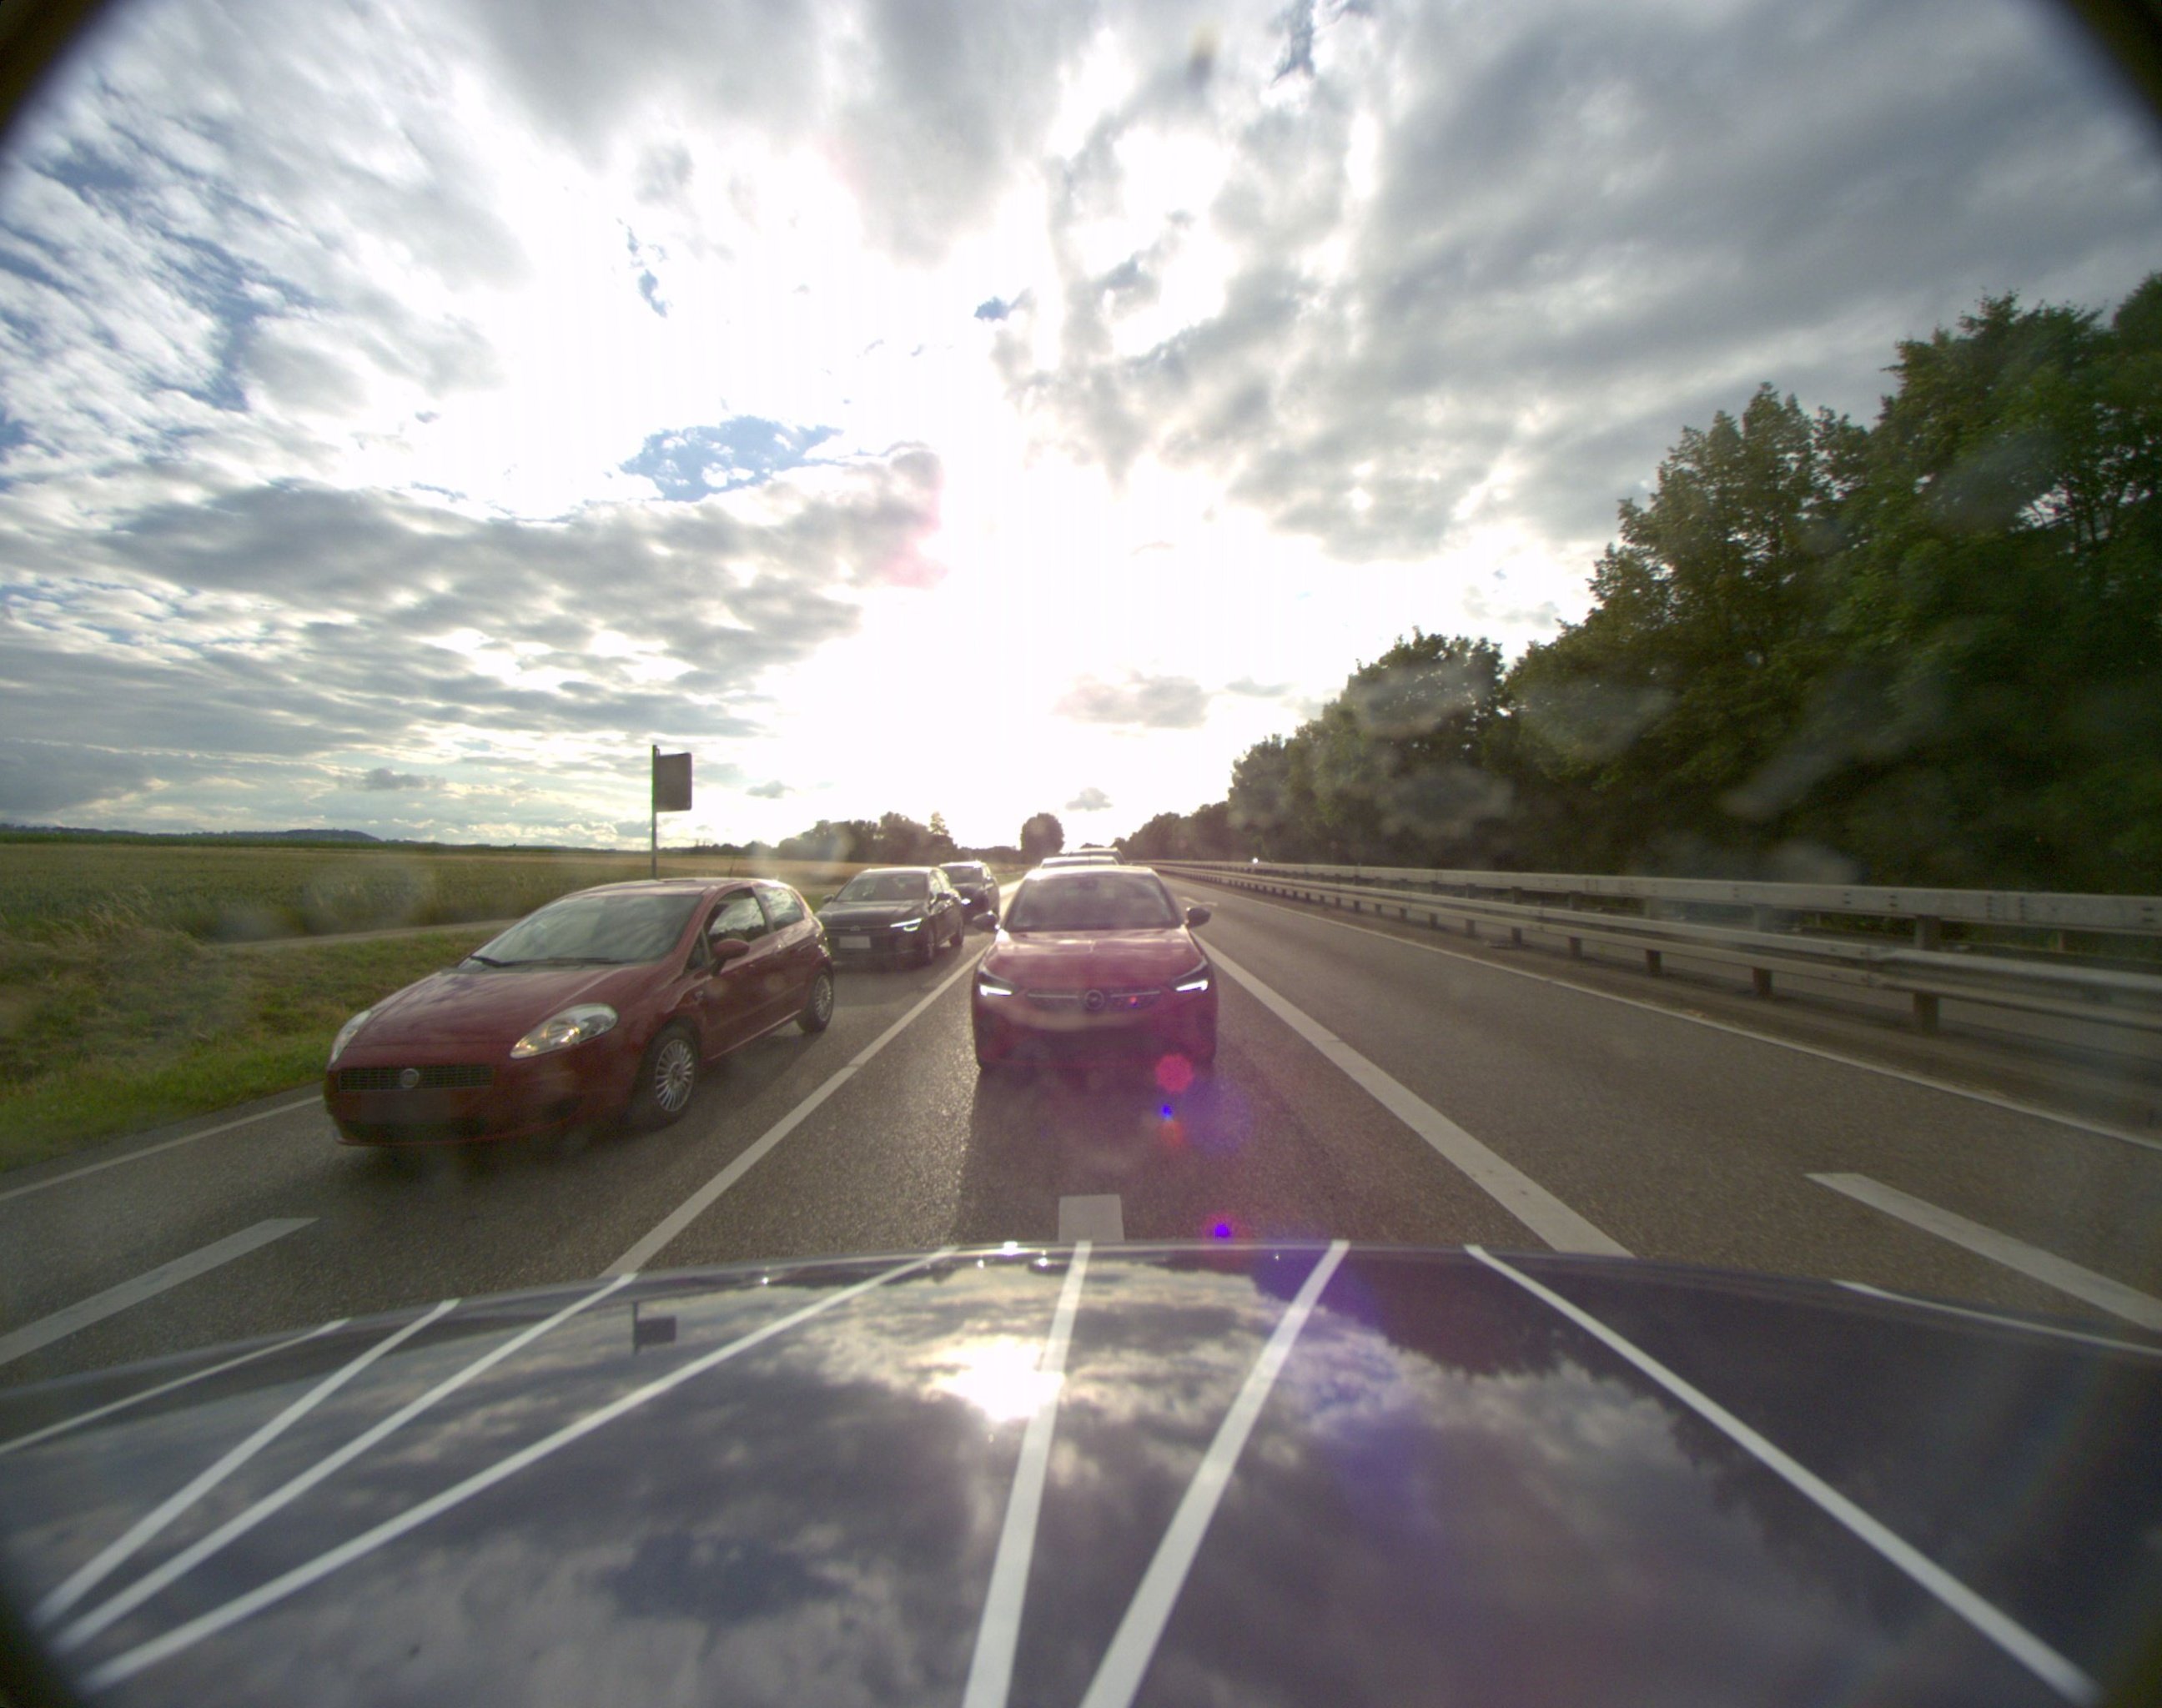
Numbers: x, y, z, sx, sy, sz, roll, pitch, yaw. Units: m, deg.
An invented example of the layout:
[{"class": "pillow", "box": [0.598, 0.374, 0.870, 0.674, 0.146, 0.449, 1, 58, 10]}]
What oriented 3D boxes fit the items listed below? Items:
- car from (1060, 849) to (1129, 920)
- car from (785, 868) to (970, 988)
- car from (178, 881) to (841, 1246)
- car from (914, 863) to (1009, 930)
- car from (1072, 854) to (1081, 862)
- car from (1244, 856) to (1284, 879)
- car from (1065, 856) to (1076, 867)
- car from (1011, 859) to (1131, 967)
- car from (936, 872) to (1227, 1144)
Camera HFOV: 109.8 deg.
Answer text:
[{"class": "car", "box": [0.371, 0.756, 21.187, 1.671, 1.730, 4.032, -2, 1, 1]}, {"class": "car", "box": [-3.063, 1.041, 12.331, 1.799, 1.448, 4.032, -2, 1, 1]}, {"class": "car", "box": [-3.256, 1.042, 5.468, 1.712, 1.448, 3.908, -2, 1, 1]}, {"class": "car", "box": [-3.057, 1.050, 20.277, 1.799, 1.448, 4.032, -2, 1, 1]}, {"class": "car", "box": [-0.845, 0.894, 156.399, 1.751, 1.550, 3.731, -2, 1, -1]}, {"class": "car", "box": [13.527, 0.958, 56.390, 1.920, 1.448, 4.373, -2, 1, 2]}, {"class": "car", "box": [-1.697, 1.241, 125.658, 1.751, 1.550, 3.731, -2, 1, 1]}, {"class": "car", "box": [-0.119, 0.887, 13.288, 1.712, 1.448, 4.061, -2, 1, 1]}, {"class": "car", "box": [0.033, 0.990, 6.651, 1.712, 1.448, 4.061, -2, 1, 1]}]
